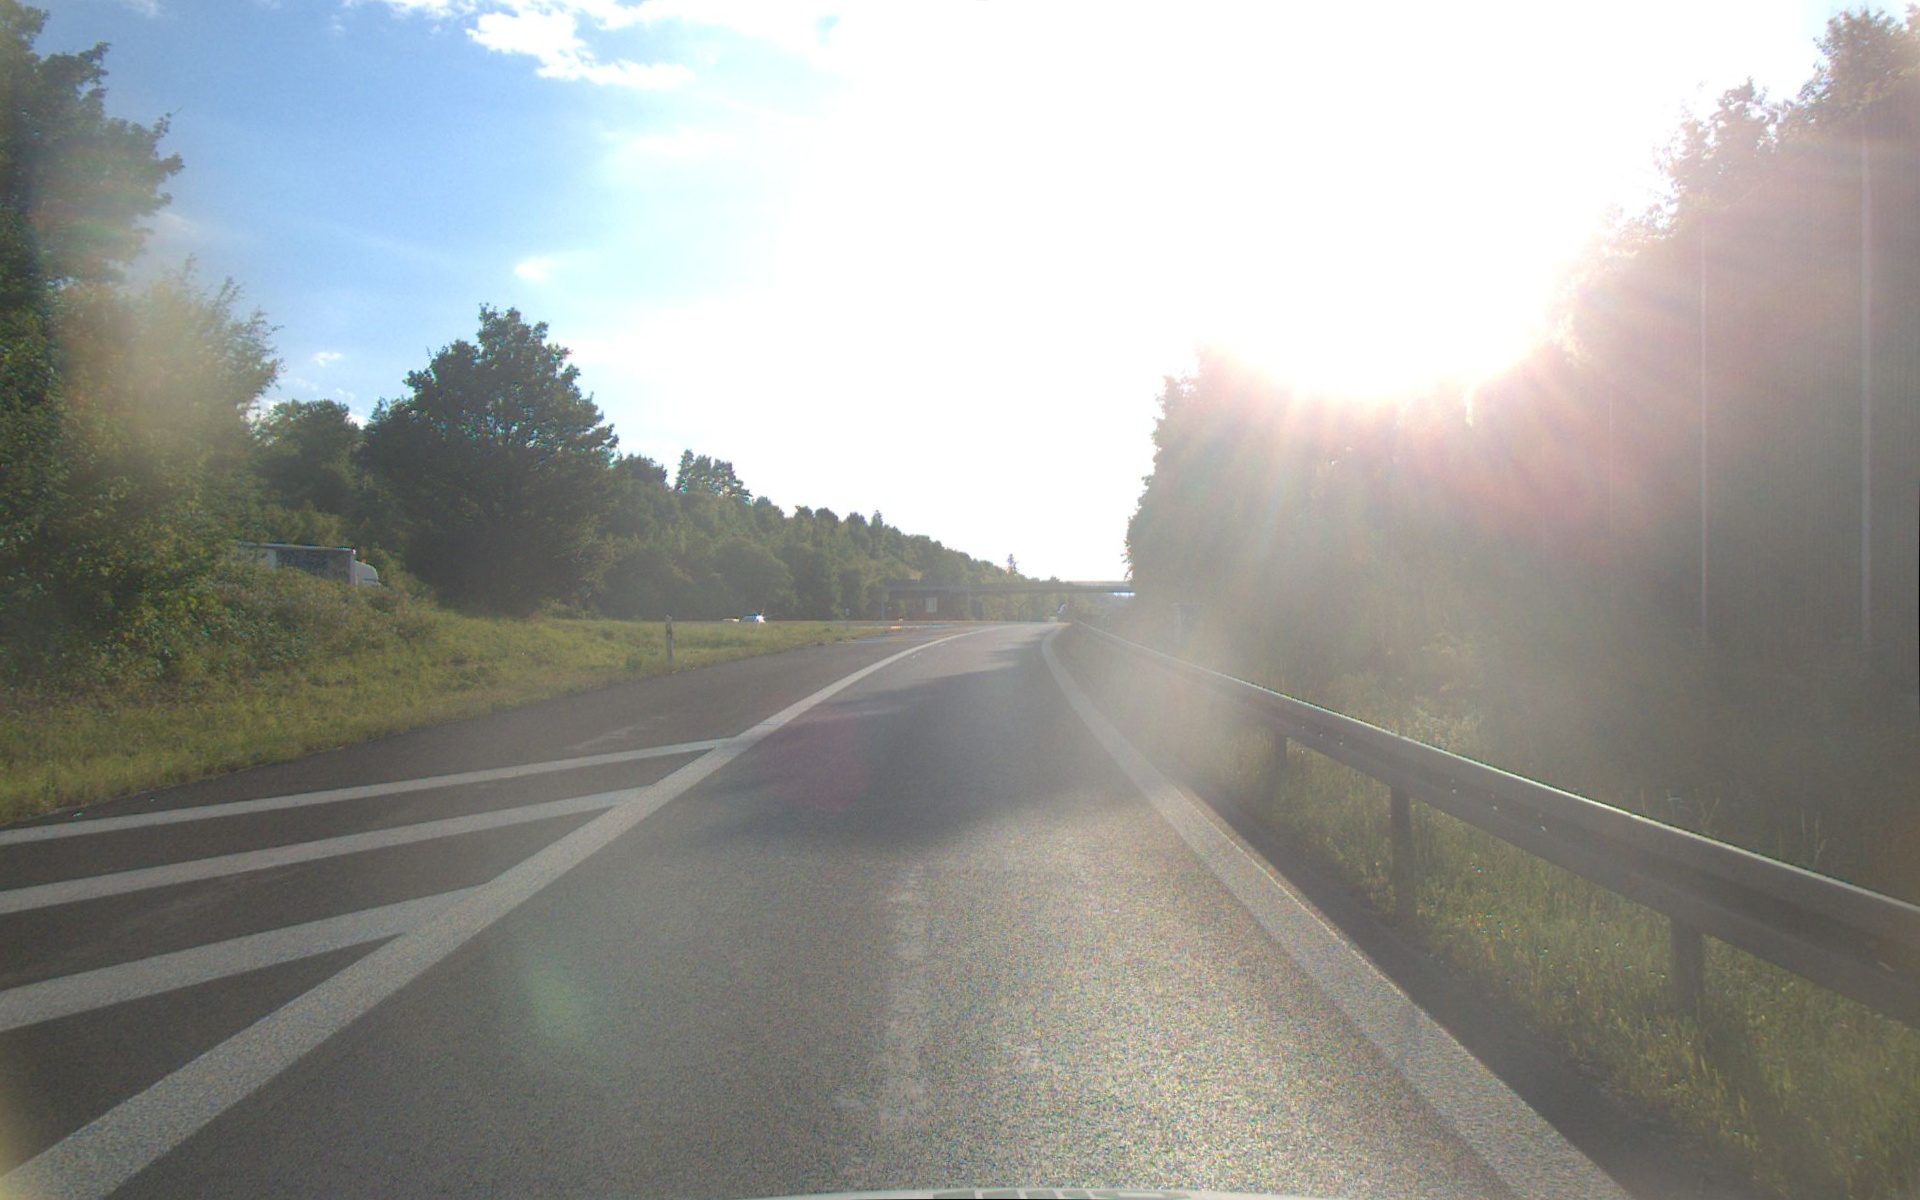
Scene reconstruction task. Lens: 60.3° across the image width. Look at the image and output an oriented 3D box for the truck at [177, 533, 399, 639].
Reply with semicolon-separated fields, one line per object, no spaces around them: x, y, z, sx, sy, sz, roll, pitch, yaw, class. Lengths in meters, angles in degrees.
-26.134;-0.457;65.018;2.858;3.856;9.671;-1;-1;15;truck
